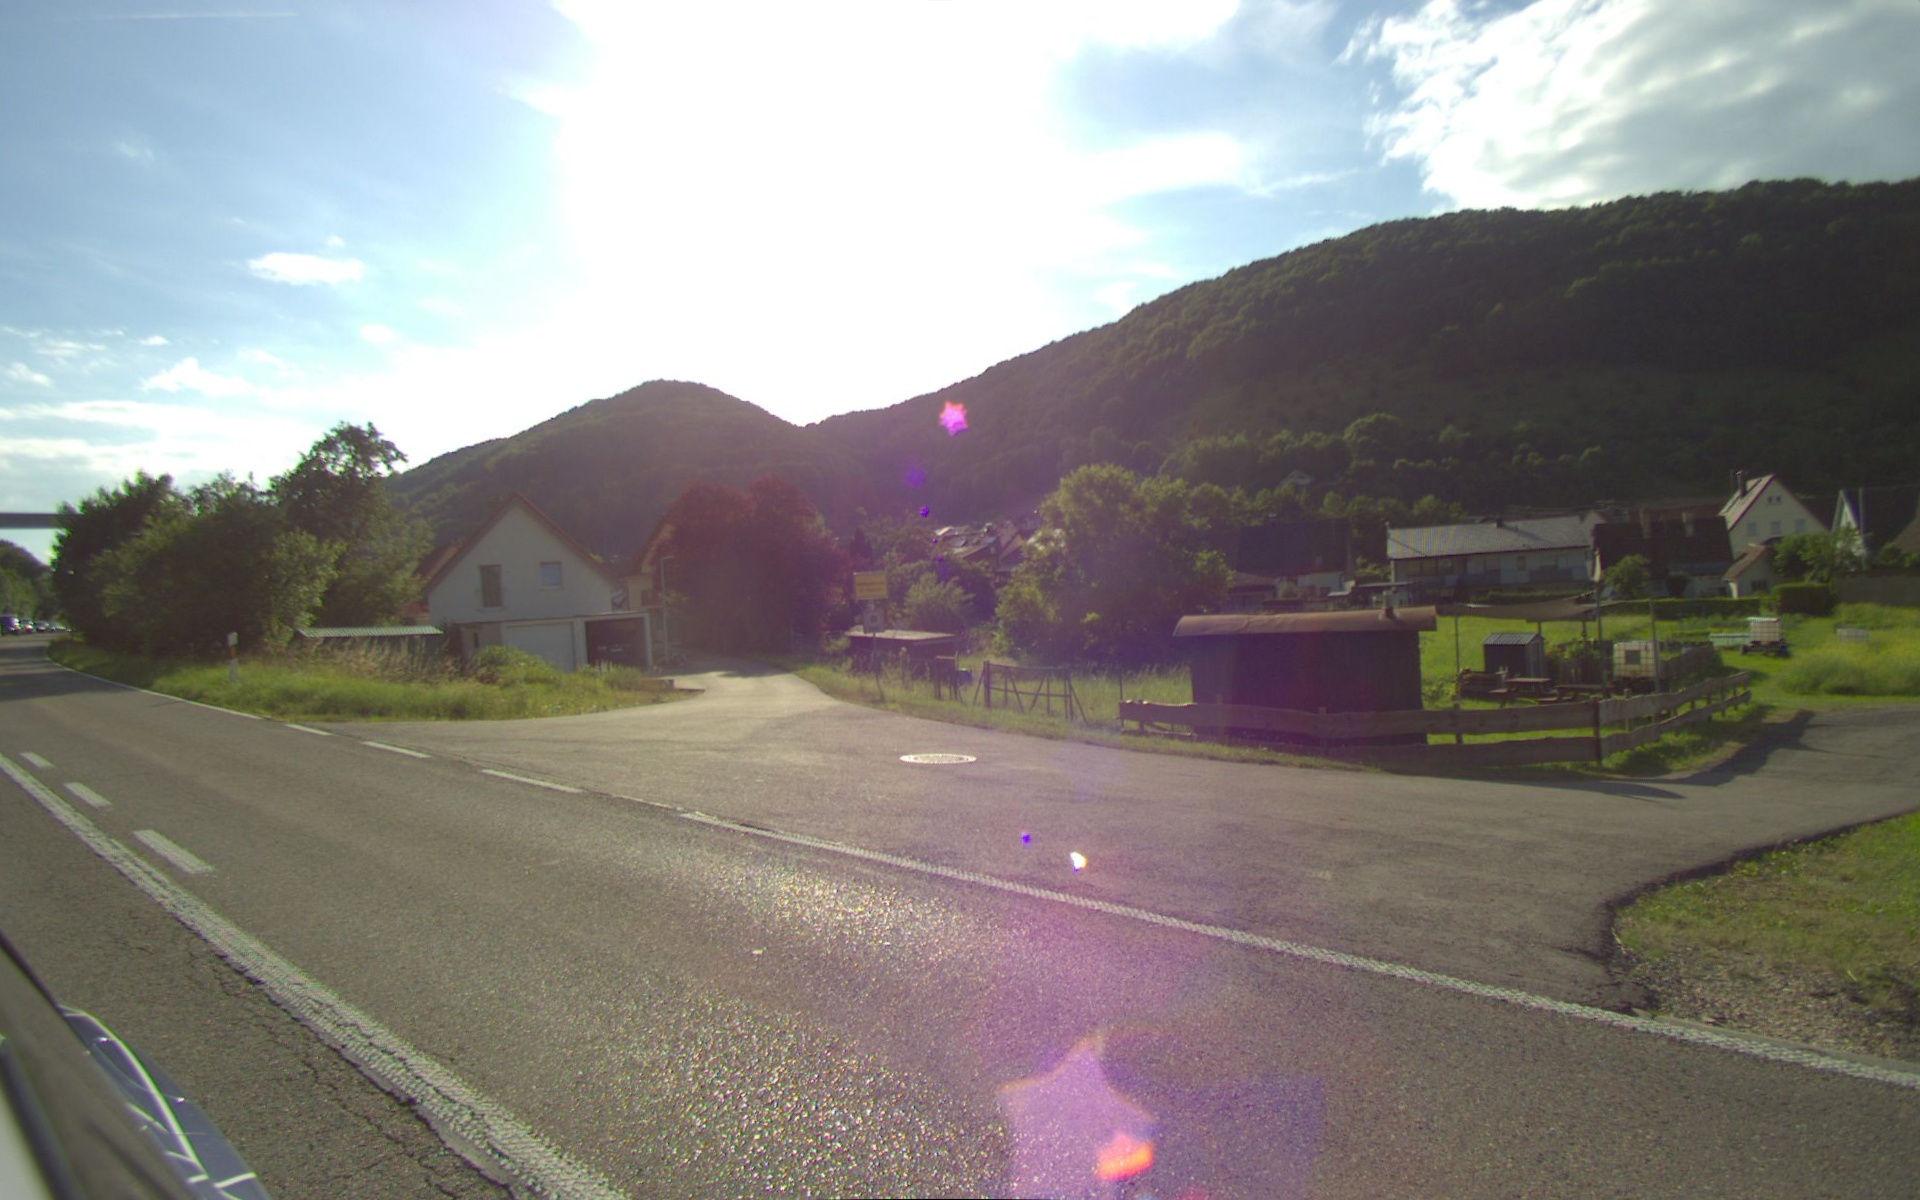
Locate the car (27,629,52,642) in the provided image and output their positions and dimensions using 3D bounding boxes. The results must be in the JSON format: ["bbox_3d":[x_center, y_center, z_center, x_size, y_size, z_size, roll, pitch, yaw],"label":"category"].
[{"bbox_3d":[-114.496,4.399,125.882,1.813,1.564,4.187,1,-2,-36],"label":"car"}]

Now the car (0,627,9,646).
[{"bbox_3d":[-82.961,3.098,86.759,1.791,1.630,4.006,1,-2,-40],"label":"car"}]
